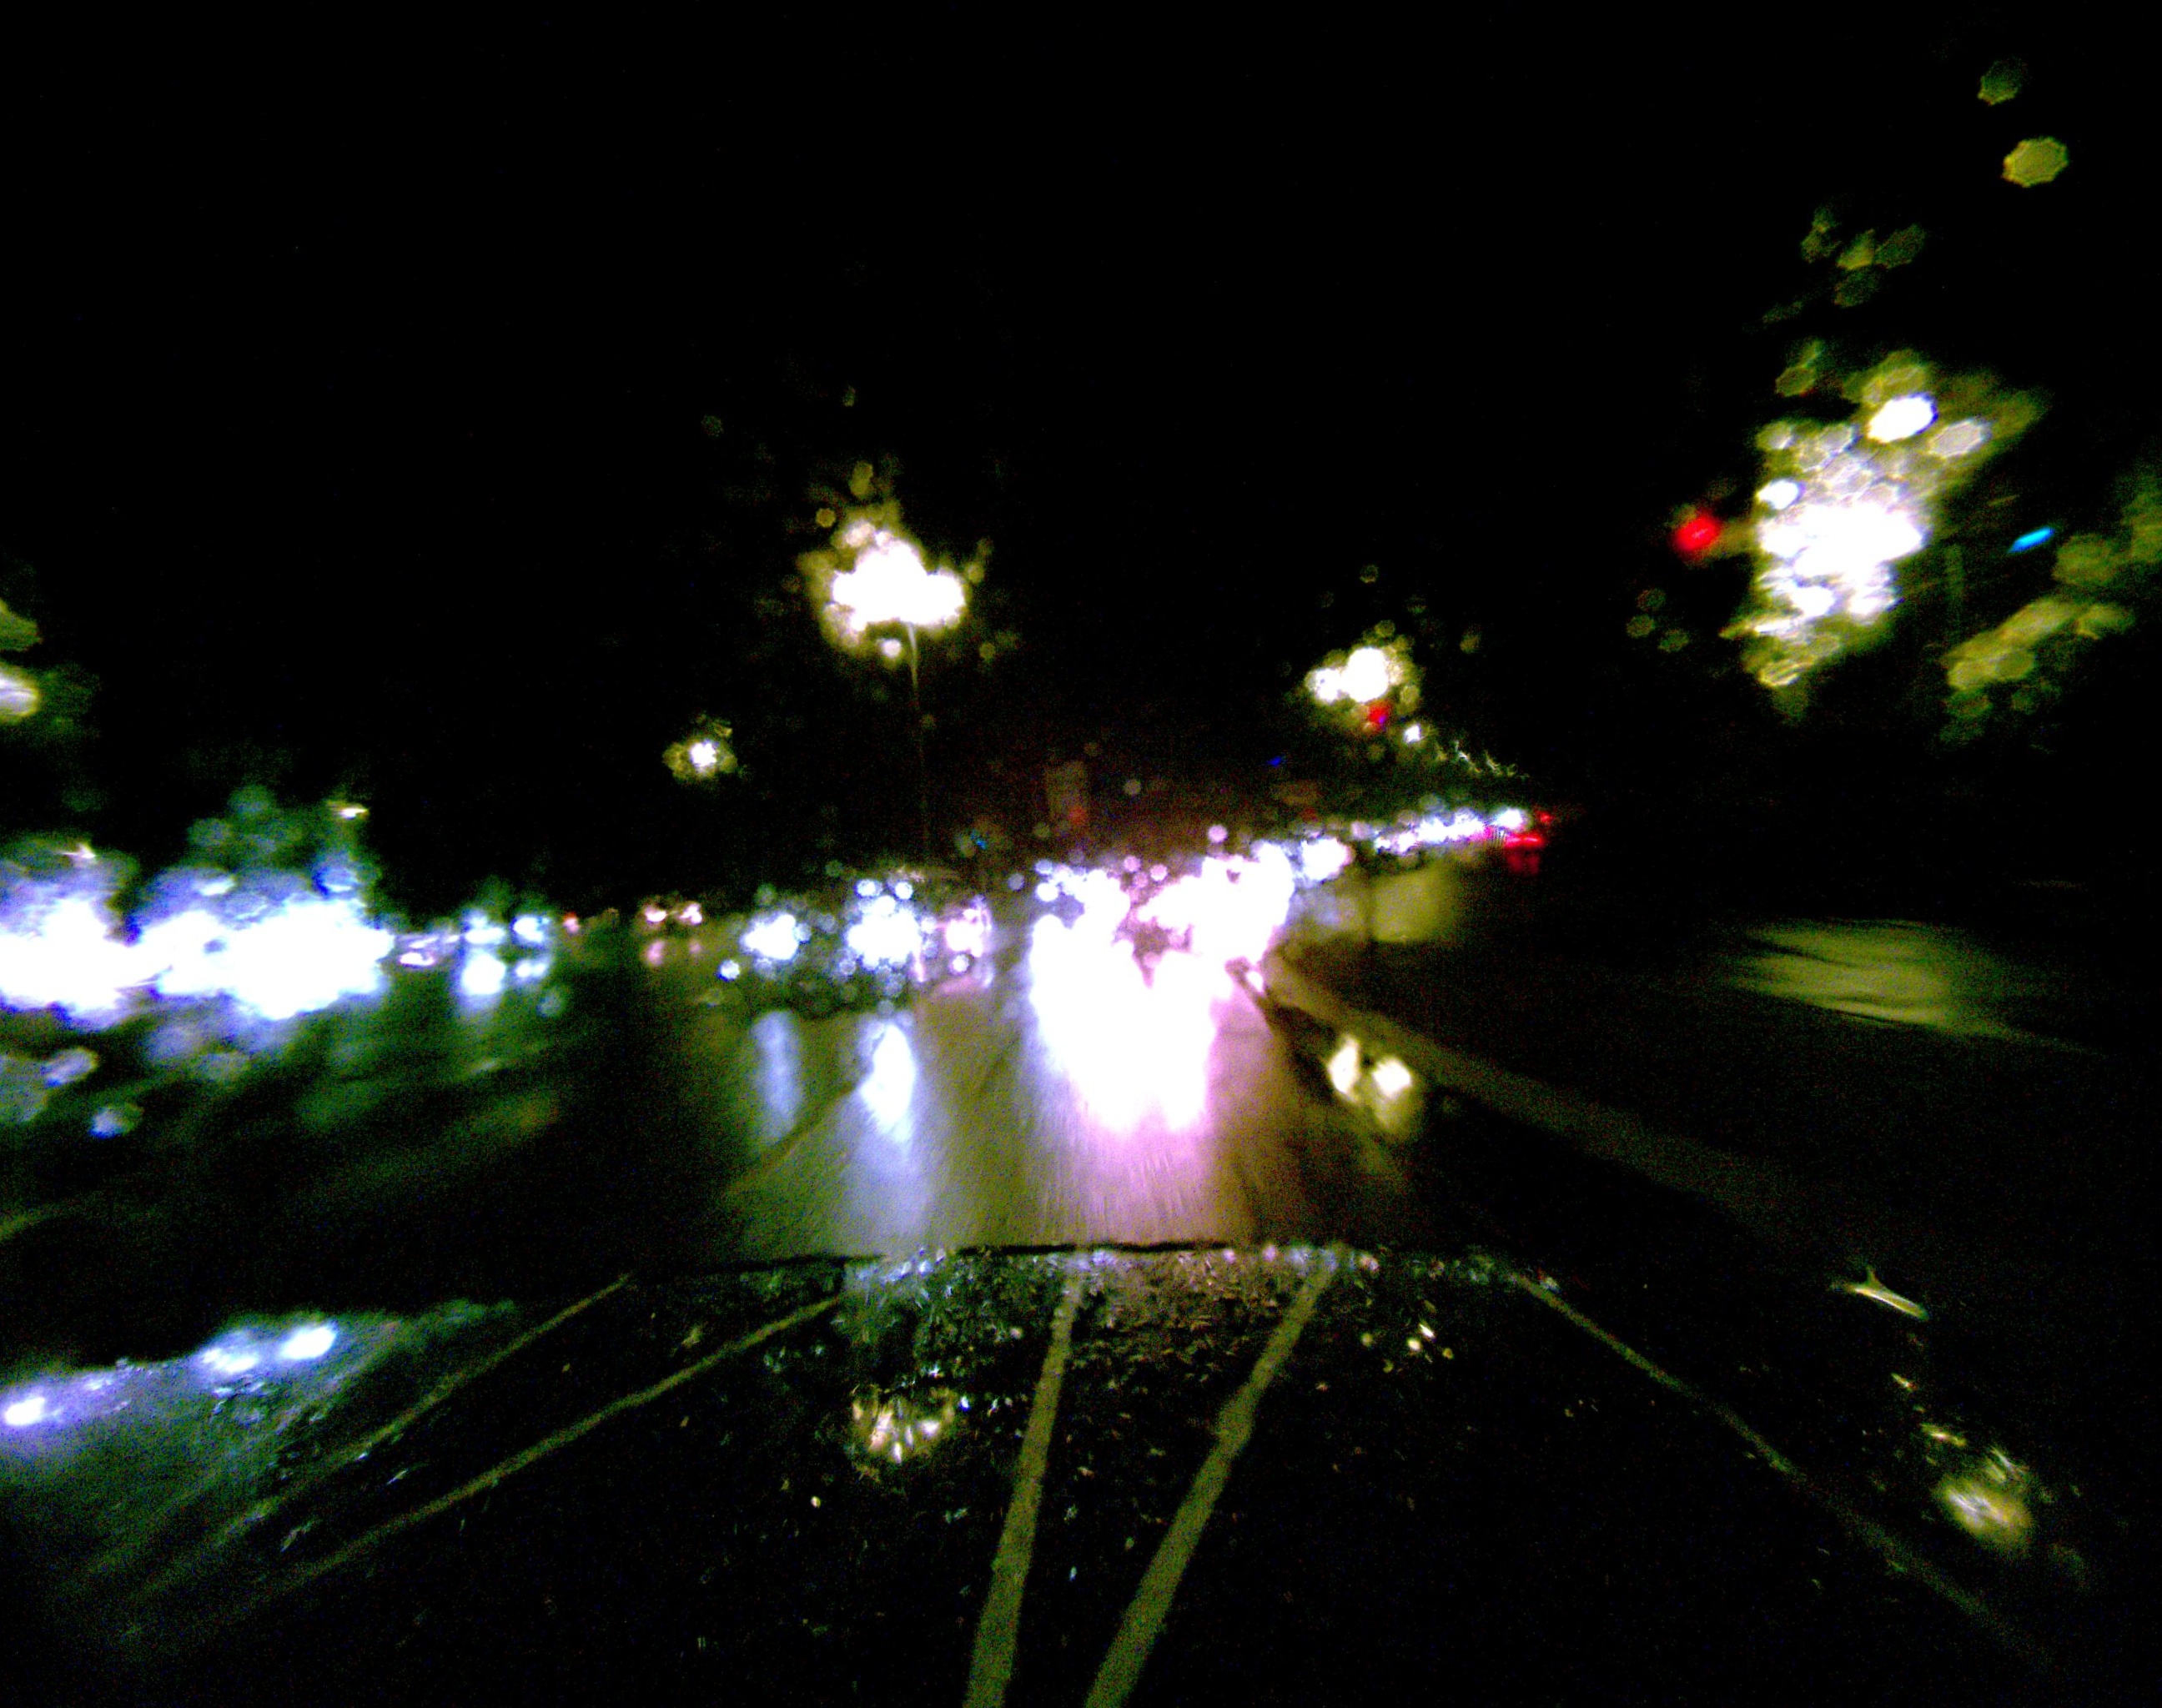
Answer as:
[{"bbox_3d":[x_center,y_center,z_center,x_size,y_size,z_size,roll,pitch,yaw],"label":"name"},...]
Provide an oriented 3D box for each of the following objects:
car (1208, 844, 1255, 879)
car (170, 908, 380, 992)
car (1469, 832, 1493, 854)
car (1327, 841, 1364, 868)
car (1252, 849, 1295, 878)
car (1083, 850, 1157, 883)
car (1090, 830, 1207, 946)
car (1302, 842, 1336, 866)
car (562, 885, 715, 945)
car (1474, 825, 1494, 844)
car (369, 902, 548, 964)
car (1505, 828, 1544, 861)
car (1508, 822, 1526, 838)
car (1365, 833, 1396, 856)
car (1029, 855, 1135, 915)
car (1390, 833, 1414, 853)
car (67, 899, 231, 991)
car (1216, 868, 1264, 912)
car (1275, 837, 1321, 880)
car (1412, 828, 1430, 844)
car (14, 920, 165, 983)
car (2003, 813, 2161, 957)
[{"bbox_3d":[9.364,0.414,46.916,1.866,2.002,4.006,-3,0,25],"label":"car"},{"bbox_3d":[-19.139,2.168,18.023,4.770,1.630,2.003,-2,0,26],"label":"car"},{"bbox_3d":[35.326,-0.957,67.047,1.740,1.845,4.007,-3,0,28],"label":"car"},{"bbox_3d":[21.283,0.031,61.124,1.995,2.002,4.007,-3,0,30],"label":"car"},{"bbox_3d":[14.624,0.699,57.540,1.832,2.002,4.008,-3,0,34],"label":"car"},{"bbox_3d":[2.335,0.729,44.832,1.995,1.688,4.270,-3,0,44],"label":"car"},{"bbox_3d":[1.525,0.587,15.699,1.997,2.002,4.002,-3,1,9],"label":"car"},{"bbox_3d":[21.570,-0.007,68.816,1.995,2.002,4.007,-3,0,30],"label":"car"},{"bbox_3d":[-13.800,1.868,23.708,4.108,1.630,2.003,-2,0,23],"label":"car"},{"bbox_3d":[42.898,-2.094,80.908,1.740,1.845,4.007,-3,0,28],"label":"car"},{"bbox_3d":[-16.962,2.081,20.689,4.534,1.400,2.003,-2,0,26],"label":"car"},{"bbox_3d":[29.557,-0.629,50.728,1.995,2.002,4.007,-3,0,28],"label":"car"},{"bbox_3d":[59.585,-3.275,103.809,1.790,2.002,4.008,-2,0,35],"label":"car"},{"bbox_3d":[28.290,-0.944,71.710,1.865,2.002,4.008,-3,0,34],"label":"car"},{"bbox_3d":[0.149,0.894,23.663,2.044,1.610,4.293,-3,0,17],"label":"car"},{"bbox_3d":[34.447,-1.227,81.469,1.866,2.002,4.007,-3,0,29],"label":"car"},{"bbox_3d":[-25.466,2.501,20.749,3.991,2.003,1.765,-6,4,27],"label":"car"},{"bbox_3d":[6.514,1.435,30.970,1.303,1.520,3.050,-3,0,22],"label":"car"},{"bbox_3d":[13.227,0.230,46.167,1.996,2.003,4.002,-7,4,24],"label":"car"},{"bbox_3d":[47.803,-2.535,106.808,1.866,2.002,4.007,-3,0,29],"label":"car"},{"bbox_3d":[-31.356,3.051,24.023,4.336,1.630,2.003,-4,0,26],"label":"car"},{"bbox_3d":[12.799,0.316,7.626,1.988,1.595,4.838,-1,0,13],"label":"car"}]
